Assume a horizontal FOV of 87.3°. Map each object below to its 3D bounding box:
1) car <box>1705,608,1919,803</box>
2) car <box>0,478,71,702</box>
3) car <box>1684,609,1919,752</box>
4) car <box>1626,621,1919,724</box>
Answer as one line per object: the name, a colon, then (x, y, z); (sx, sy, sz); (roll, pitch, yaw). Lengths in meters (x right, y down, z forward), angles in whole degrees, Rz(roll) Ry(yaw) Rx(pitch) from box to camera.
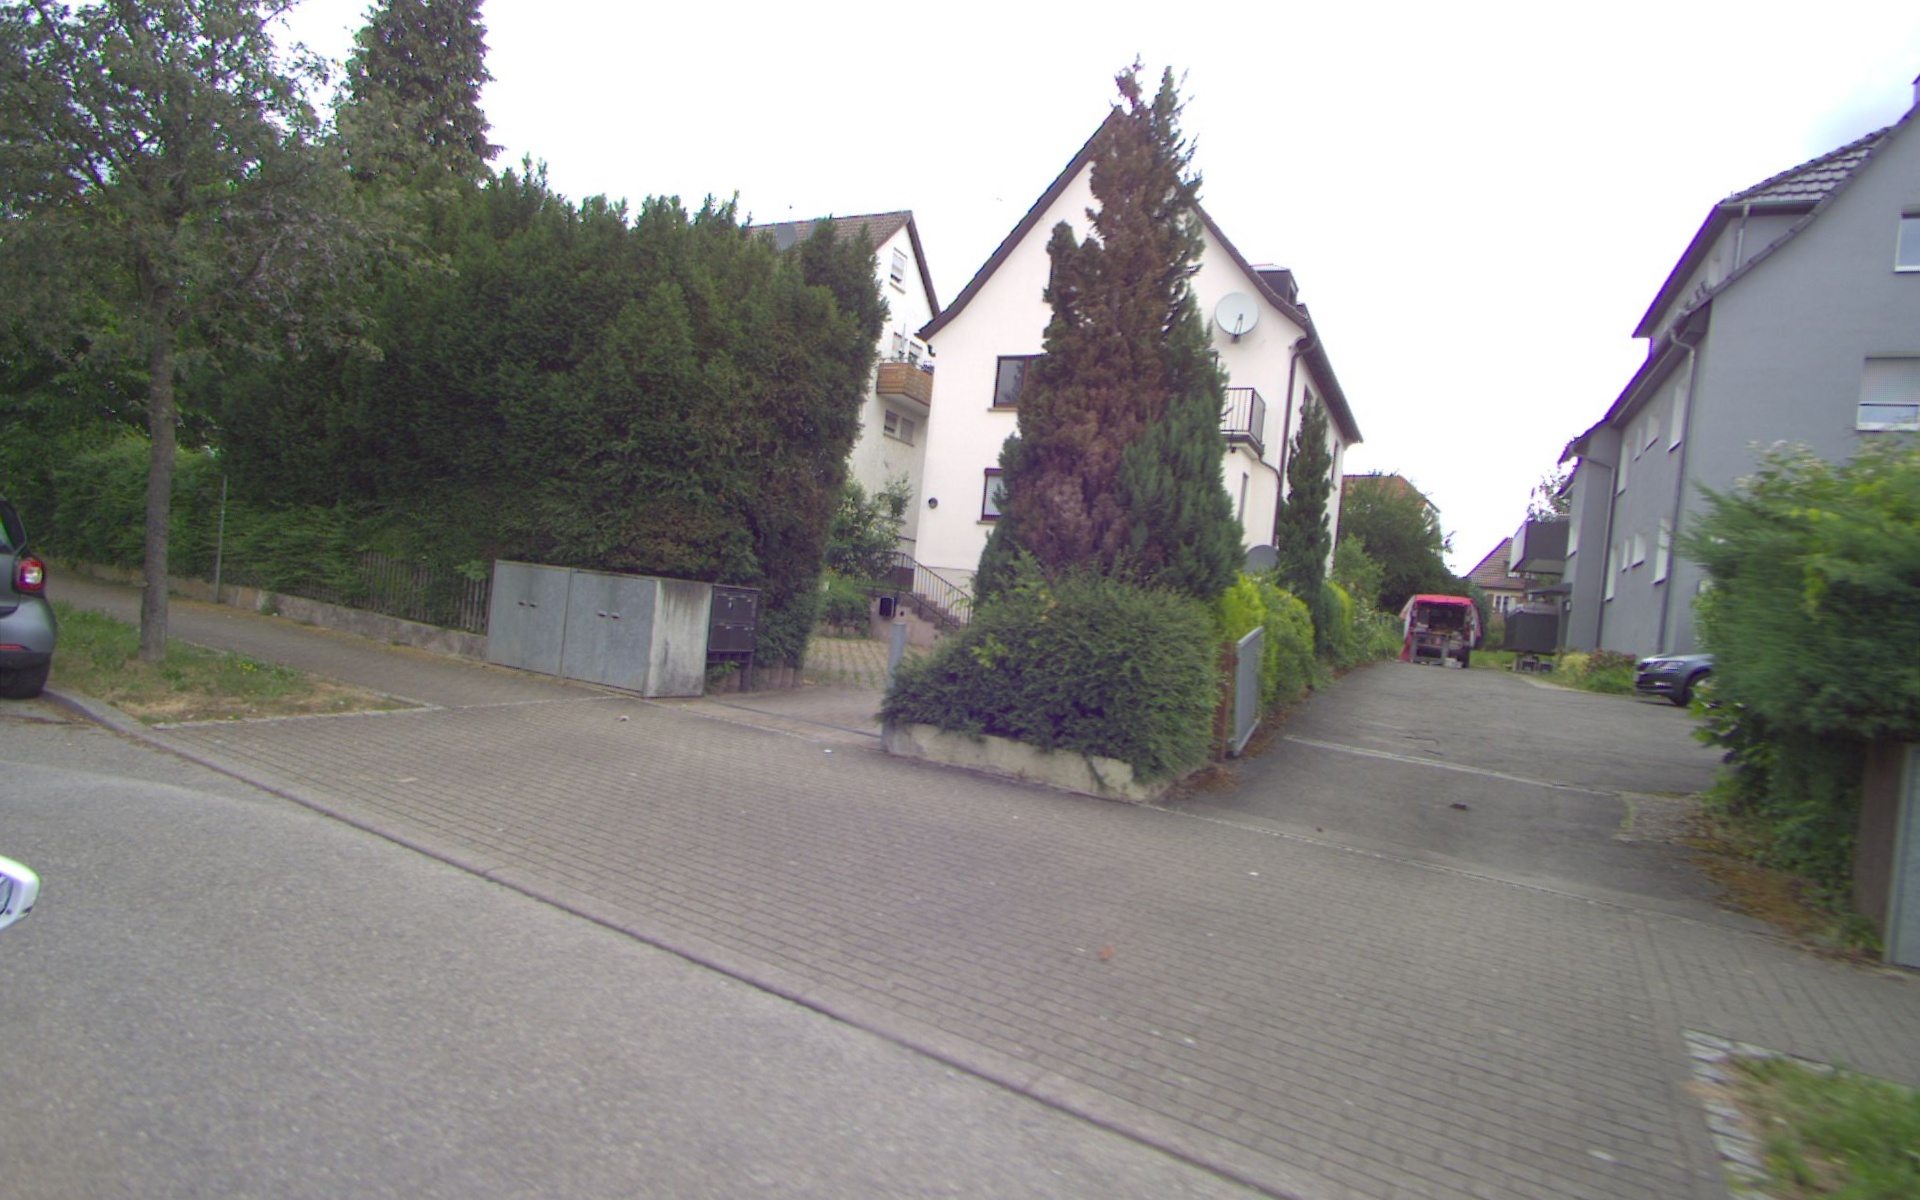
car: (9.860, 0.965, 9.312); (4.460, 1.701, 1.778); (1, 1, 26)
car: (-8.712, -0.311, 7.621); (3.889, 1.575, 1.700); (6, -3, 30)
car: (12.515, 1.100, 13.737); (3.861, 1.615, 1.809); (4, 4, 24)
car: (13.037, 1.099, 16.013); (3.782, 1.368, 1.428); (2, 1, 23)
